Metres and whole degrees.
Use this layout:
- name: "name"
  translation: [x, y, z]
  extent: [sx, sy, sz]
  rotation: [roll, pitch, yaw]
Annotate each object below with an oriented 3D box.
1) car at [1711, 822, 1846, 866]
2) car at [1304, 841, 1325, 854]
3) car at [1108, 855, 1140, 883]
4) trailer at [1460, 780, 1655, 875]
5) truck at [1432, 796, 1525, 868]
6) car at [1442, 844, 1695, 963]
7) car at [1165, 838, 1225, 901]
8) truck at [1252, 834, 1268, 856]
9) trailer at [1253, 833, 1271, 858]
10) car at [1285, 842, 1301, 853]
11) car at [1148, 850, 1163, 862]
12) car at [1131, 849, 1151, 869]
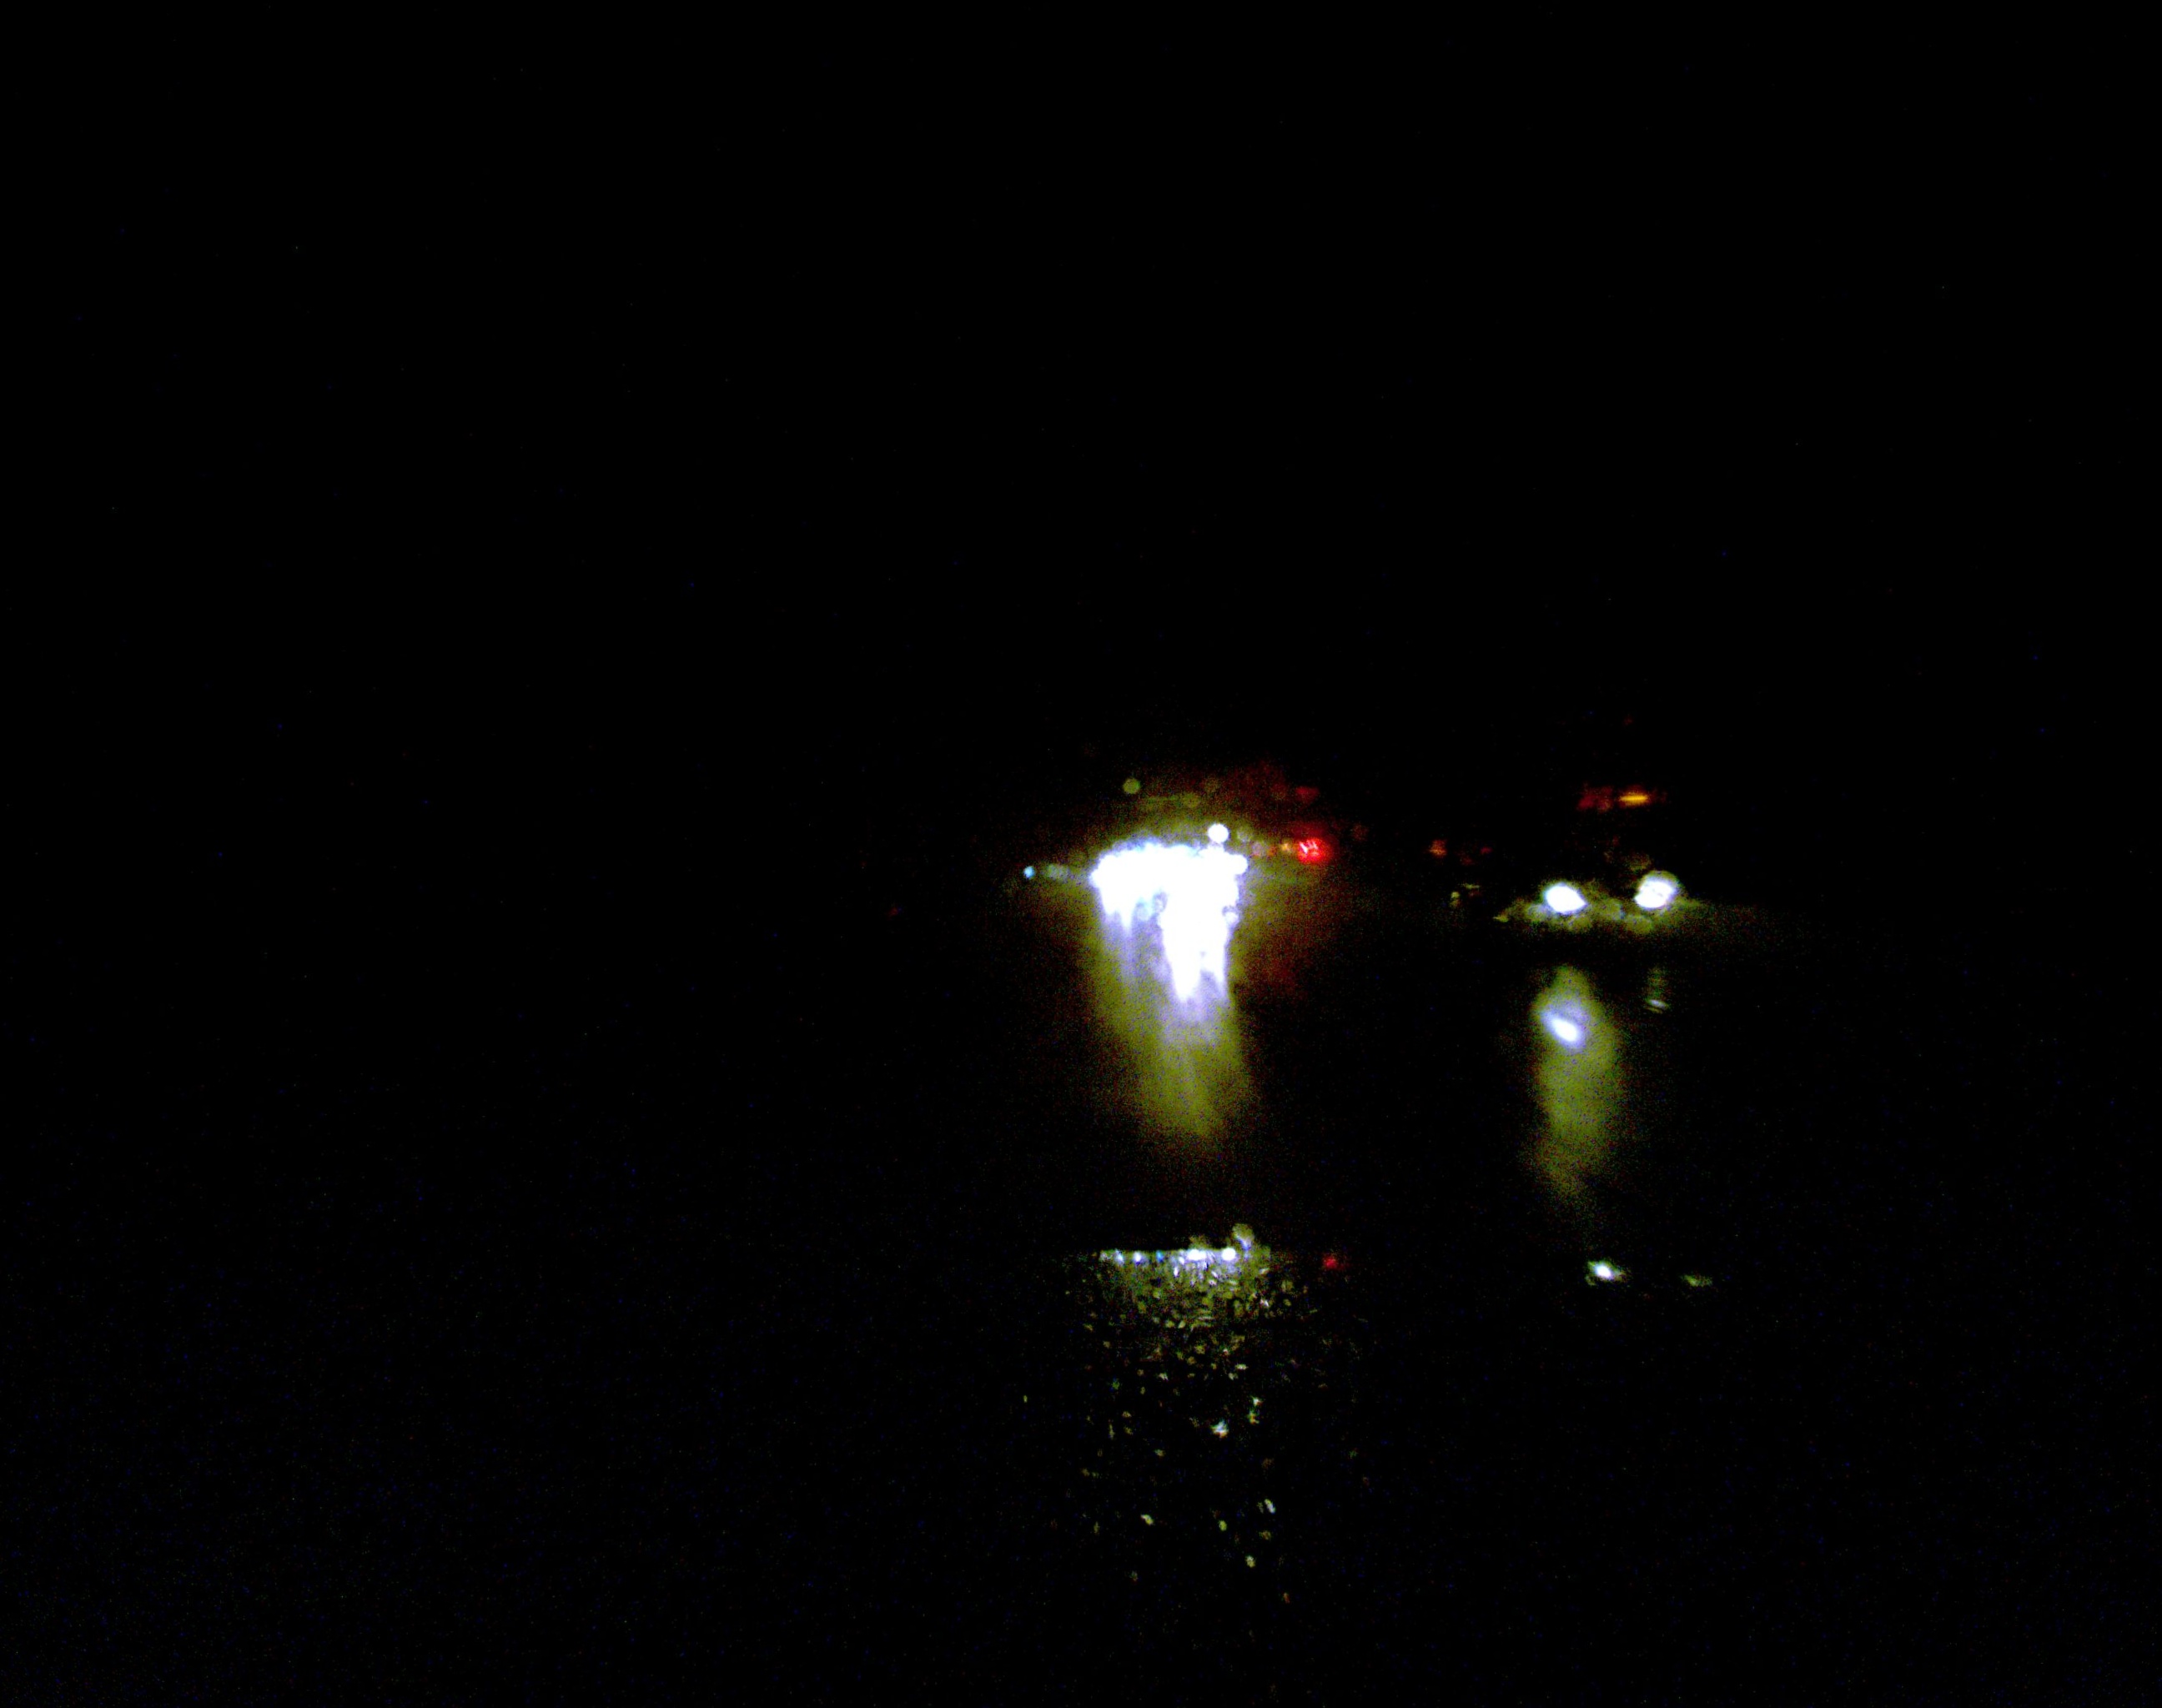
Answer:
- name: "car"
  translation: [30.430, -0.422, 33.313]
  extent: [1.837, 1.703, 3.996]
  rotation: [-3, 1, -11]
- name: "car"
  translation: [33.240, -0.958, 108.350]
  extent: [1.901, 1.634, 4.197]
  rotation: [-3, 1, 5]
- name: "car"
  translation: [2.781, 0.946, 48.829]
  extent: [1.892, 1.602, 4.001]
  rotation: [-3, 1, 4]
- name: "trailer"
  translation: [20.505, -1.049, 33.791]
  extent: [2.615, 3.452, 10.448]
  rotation: [-3, 1, 4]
- name: "truck"
  translation: [20.974, -1.125, 40.395]
  extent: [2.610, 3.437, 4.642]
  rotation: [-3, 1, 4]
- name: "car"
  translation: [7.453, 0.683, 12.121]
  extent: [1.653, 1.566, 3.850]
  rotation: [-1, 0, 2]
- name: "car"
  translation: [4.107, 0.549, 28.046]
  extent: [1.753, 2.092, 4.464]
  rotation: [-2, 0, 3]
- name: "truck"
  translation: [36.532, -1.826, 155.208]
  extent: [2.569, 4.378, 5.854]
  rotation: [-3, 1, 10]
- name: "trailer"
  translation: [35.120, -1.665, 147.622]
  extent: [2.580, 4.431, 12.501]
  rotation: [-3, 1, 10]
- name: "car"
  translation: [37.128, -1.124, 133.198]
  extent: [1.997, 1.718, 4.002]
  rotation: [-3, 1, 7]
- name: "car"
  translation: [13.227, 0.299, 135.613]
  extent: [1.999, 2.002, 3.999]
  rotation: [-4, 1, -3]
- name: "car"
  translation: [6.749, 0.522, 85.058]
  extent: [1.998, 2.002, 4.001]
  rotation: [-3, 1, 6]
